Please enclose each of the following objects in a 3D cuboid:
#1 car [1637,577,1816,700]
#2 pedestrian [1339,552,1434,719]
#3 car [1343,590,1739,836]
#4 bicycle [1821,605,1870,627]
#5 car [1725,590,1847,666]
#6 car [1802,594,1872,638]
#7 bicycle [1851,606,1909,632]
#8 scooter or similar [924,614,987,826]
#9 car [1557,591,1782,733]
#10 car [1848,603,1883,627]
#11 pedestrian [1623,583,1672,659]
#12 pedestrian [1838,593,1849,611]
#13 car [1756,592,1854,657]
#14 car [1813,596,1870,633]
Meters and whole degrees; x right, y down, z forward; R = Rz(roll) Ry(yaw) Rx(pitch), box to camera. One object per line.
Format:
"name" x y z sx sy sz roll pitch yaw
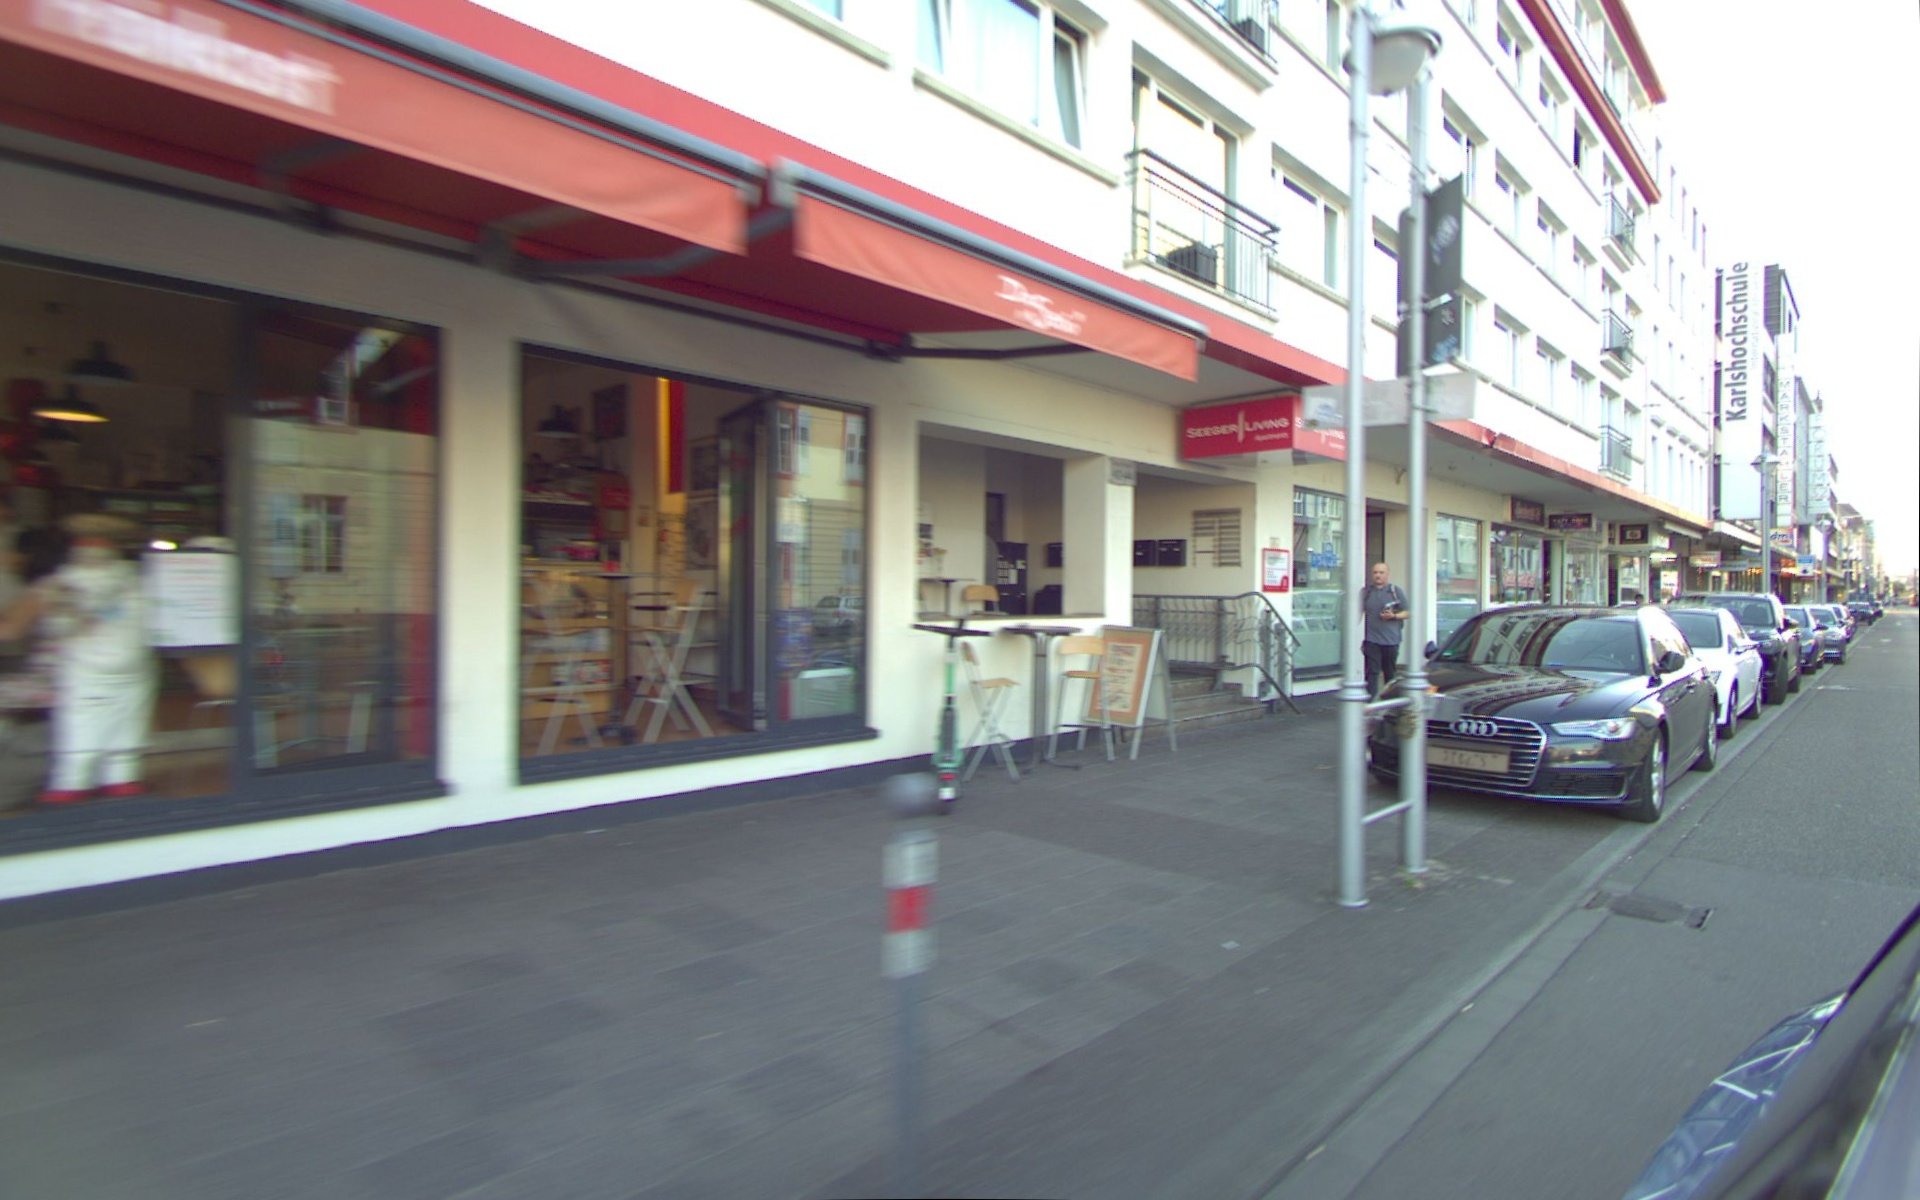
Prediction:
"car" 12.507 0.538 16.402 1.855 1.722 4.349 -2 -1 43
"pedestrian" 5.099 0.392 12.091 0.774 1.904 0.920 1 1 42
"car" 4.954 0.667 8.270 1.789 1.431 4.614 -2 -1 43
"bicycle" 43.758 0.780 50.018 1.793 0.984 0.567 4 2 41
"car" 18.623 0.587 22.748 1.781 1.542 4.288 -2 -1 44
"car" 32.892 0.585 37.912 1.765 1.533 4.008 -2 -1 44
"bicycle" 40.413 0.832 44.479 1.837 1.124 0.632 -1 -1 41
"scooter or similar" -0.053 0.720 6.714 0.329 1.209 1.439 1 1 -3
"car" 8.833 0.639 12.453 1.651 1.439 4.125 -2 -1 43
"car" 63.027 1.006 70.403 1.740 1.560 3.904 1 1 43
"pedestrian" 14.791 0.430 21.761 0.733 1.594 0.951 0 0 43
"pedestrian" 87.722 0.170 100.440 0.740 1.778 0.778 3 2 40
"car" 22.690 0.602 27.107 1.790 1.552 4.782 -2 -1 42
"car" 37.649 0.606 43.191 1.654 1.481 3.960 -2 -1 43
